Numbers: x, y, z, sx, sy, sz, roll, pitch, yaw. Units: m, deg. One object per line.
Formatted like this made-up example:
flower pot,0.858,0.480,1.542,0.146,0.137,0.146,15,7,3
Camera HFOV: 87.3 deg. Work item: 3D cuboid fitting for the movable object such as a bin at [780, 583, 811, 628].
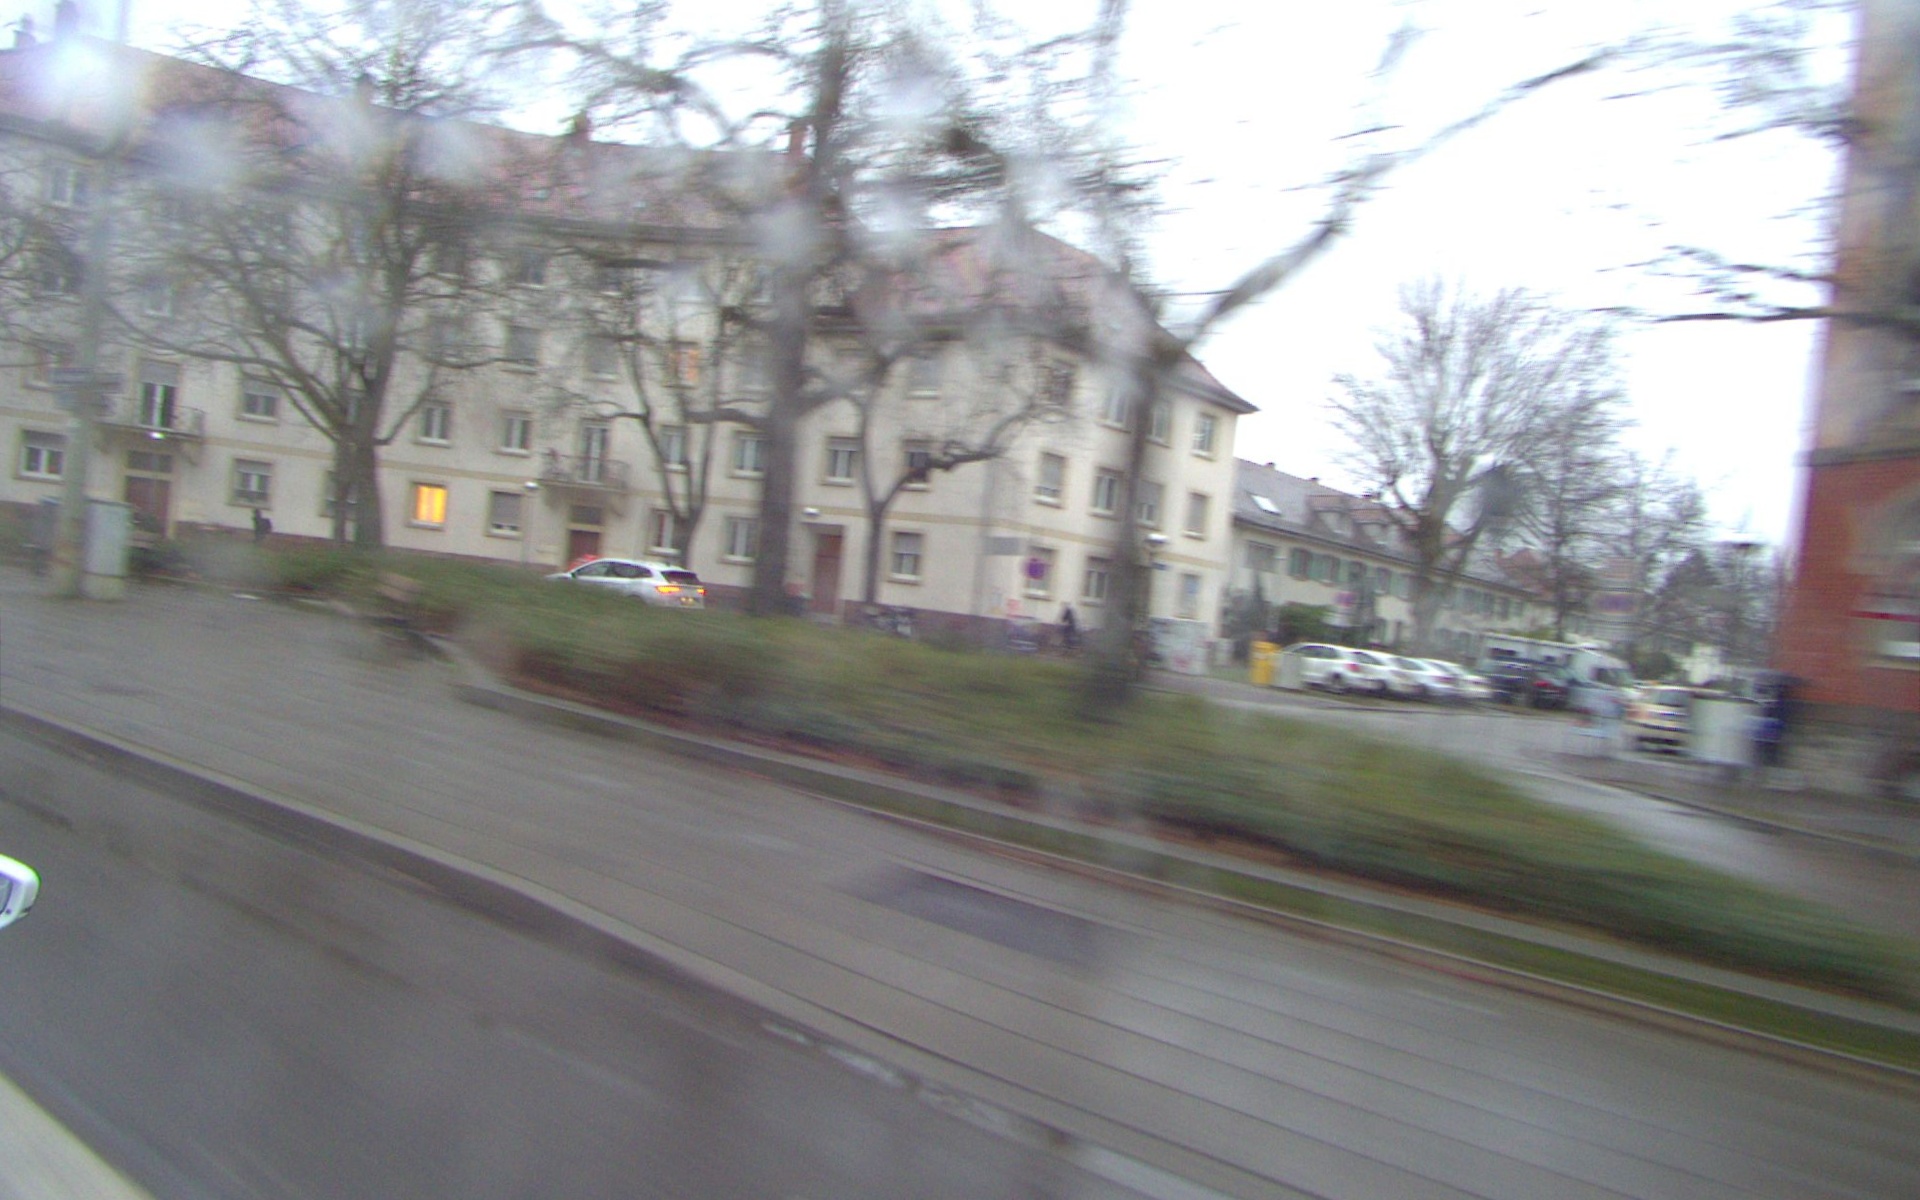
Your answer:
movable object such as a bin,-4.876,0.171,29.870,0.638,1.244,0.528,6,1,16

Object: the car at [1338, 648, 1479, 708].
car,15.335,2.637,34.554,1.833,1.494,3.964,7,0,-33

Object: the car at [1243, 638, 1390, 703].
car,11.216,2.202,31.867,1.833,1.504,3.964,7,0,-33

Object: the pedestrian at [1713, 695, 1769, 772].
pedestrian,14.494,2.472,18.668,0.543,1.332,0.602,7,0,-40

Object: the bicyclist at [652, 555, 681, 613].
bicyclist,-10.086,-0.531,34.559,0.668,1.910,0.467,6,1,28

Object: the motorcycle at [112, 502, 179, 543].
motorcycle,-26.772,-2.544,33.085,1.575,1.120,0.568,7,3,-8

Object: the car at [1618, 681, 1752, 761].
car,16.865,2.795,23.324,3.972,1.514,1.628,7,0,-42

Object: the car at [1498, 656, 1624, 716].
car,26.372,3.739,44.231,1.987,2.039,4.273,6,0,-44

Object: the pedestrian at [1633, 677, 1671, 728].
pedestrian,27.468,4.054,39.939,0.870,1.887,0.807,5,1,-35

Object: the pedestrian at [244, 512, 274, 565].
pedestrian,-23.684,-2.085,33.982,0.708,1.681,0.681,5,1,-36

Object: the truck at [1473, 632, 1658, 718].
truck,27.992,3.420,46.727,2.615,3.131,6.652,5,0,-43

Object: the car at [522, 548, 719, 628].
car,-8.691,-0.336,25.715,4.668,1.531,1.895,6,3,24

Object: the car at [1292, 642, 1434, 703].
car,13.316,2.376,33.437,1.833,1.494,3.964,7,0,-33

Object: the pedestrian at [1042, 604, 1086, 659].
pedestrian,3.392,1.016,32.718,0.750,1.663,1.115,7,1,45

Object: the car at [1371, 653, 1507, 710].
car,17.258,2.930,36.408,1.833,1.494,3.964,7,0,-33

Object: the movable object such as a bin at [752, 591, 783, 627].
movable object such as a bin,-5.725,0.266,29.967,0.638,0.993,0.528,6,0,16

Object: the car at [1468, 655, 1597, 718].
car,22.969,3.449,40.464,1.832,1.958,3.964,6,0,-33

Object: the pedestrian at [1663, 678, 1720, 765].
pedestrian,14.024,2.326,19.283,0.543,1.545,0.636,7,0,-40
